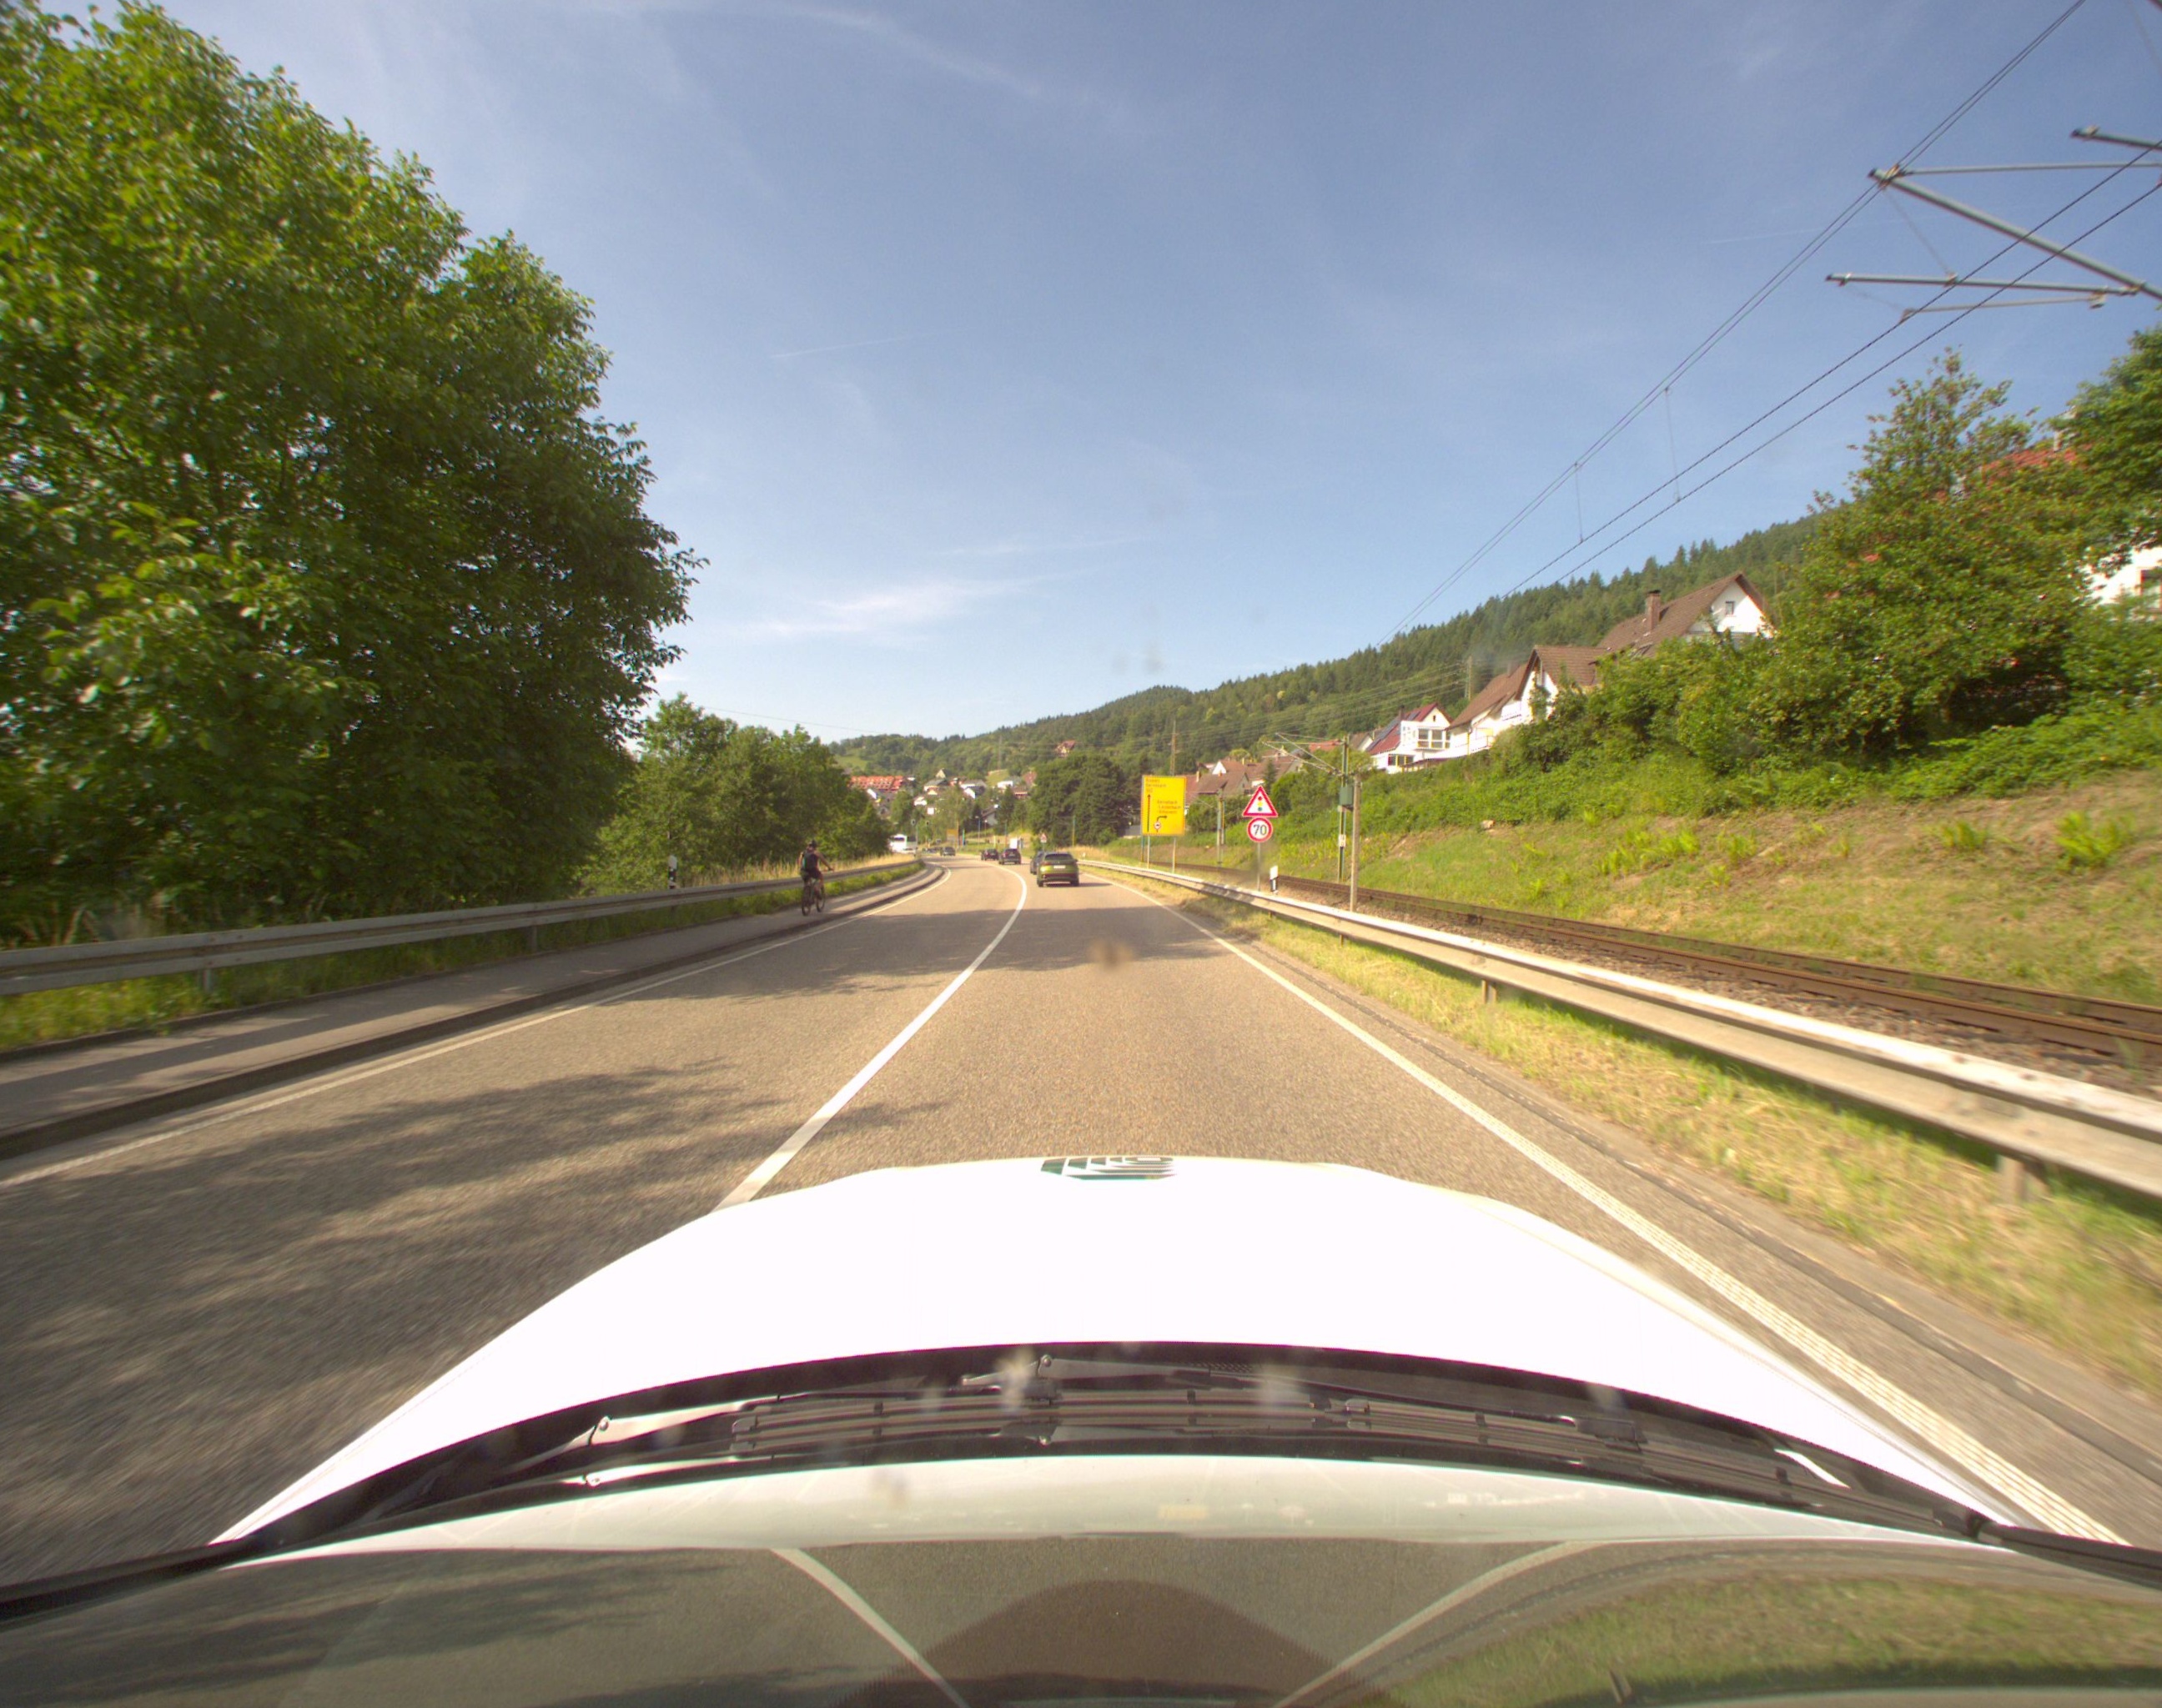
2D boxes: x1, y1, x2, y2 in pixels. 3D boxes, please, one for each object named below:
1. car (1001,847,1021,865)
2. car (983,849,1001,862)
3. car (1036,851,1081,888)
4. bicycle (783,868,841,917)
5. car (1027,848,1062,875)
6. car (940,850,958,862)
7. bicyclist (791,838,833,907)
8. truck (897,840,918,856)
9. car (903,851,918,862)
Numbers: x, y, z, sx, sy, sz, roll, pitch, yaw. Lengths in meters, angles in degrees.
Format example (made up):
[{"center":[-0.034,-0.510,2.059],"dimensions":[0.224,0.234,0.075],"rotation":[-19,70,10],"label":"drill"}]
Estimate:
[{"center":[-6.889,0.214,80.114],"dimensions":[1.878,1.686,3.991],"rotation":[1,0,-6],"label":"car"},{"center":[-10.963,0.169,99.788],"dimensions":[1.850,1.527,3.648],"rotation":[1,0,-11],"label":"car"},{"center":[-1.023,0.627,35.540],"dimensions":[1.712,1.455,3.993],"rotation":[-2,0,-5],"label":"car"},{"center":[-6.553,0.906,19.946],"dimensions":[0.555,1.045,2.230],"rotation":[4,1,2],"label":"bicycle"},{"center":[-2.281,0.425,50.327],"dimensions":[1.667,1.559,3.987],"rotation":[-2,0,-9],"label":"car"},{"center":[-22.012,0.403,136.006],"dimensions":[2.071,1.811,3.971],"rotation":[4,-2,-21],"label":"car"},{"center":[-6.503,0.433,19.729],"dimensions":[0.555,1.586,1.036],"rotation":[4,0,2],"label":"bicyclist"},{"center":[-34.993,-1.231,163.897],"dimensions":[2.726,3.083,6.056],"rotation":[-1,1,-27],"label":"truck"},{"center":[-26.526,0.385,126.533],"dimensions":[1.997,1.629,3.980],"rotation":[-1,0,-15],"label":"car"}]
